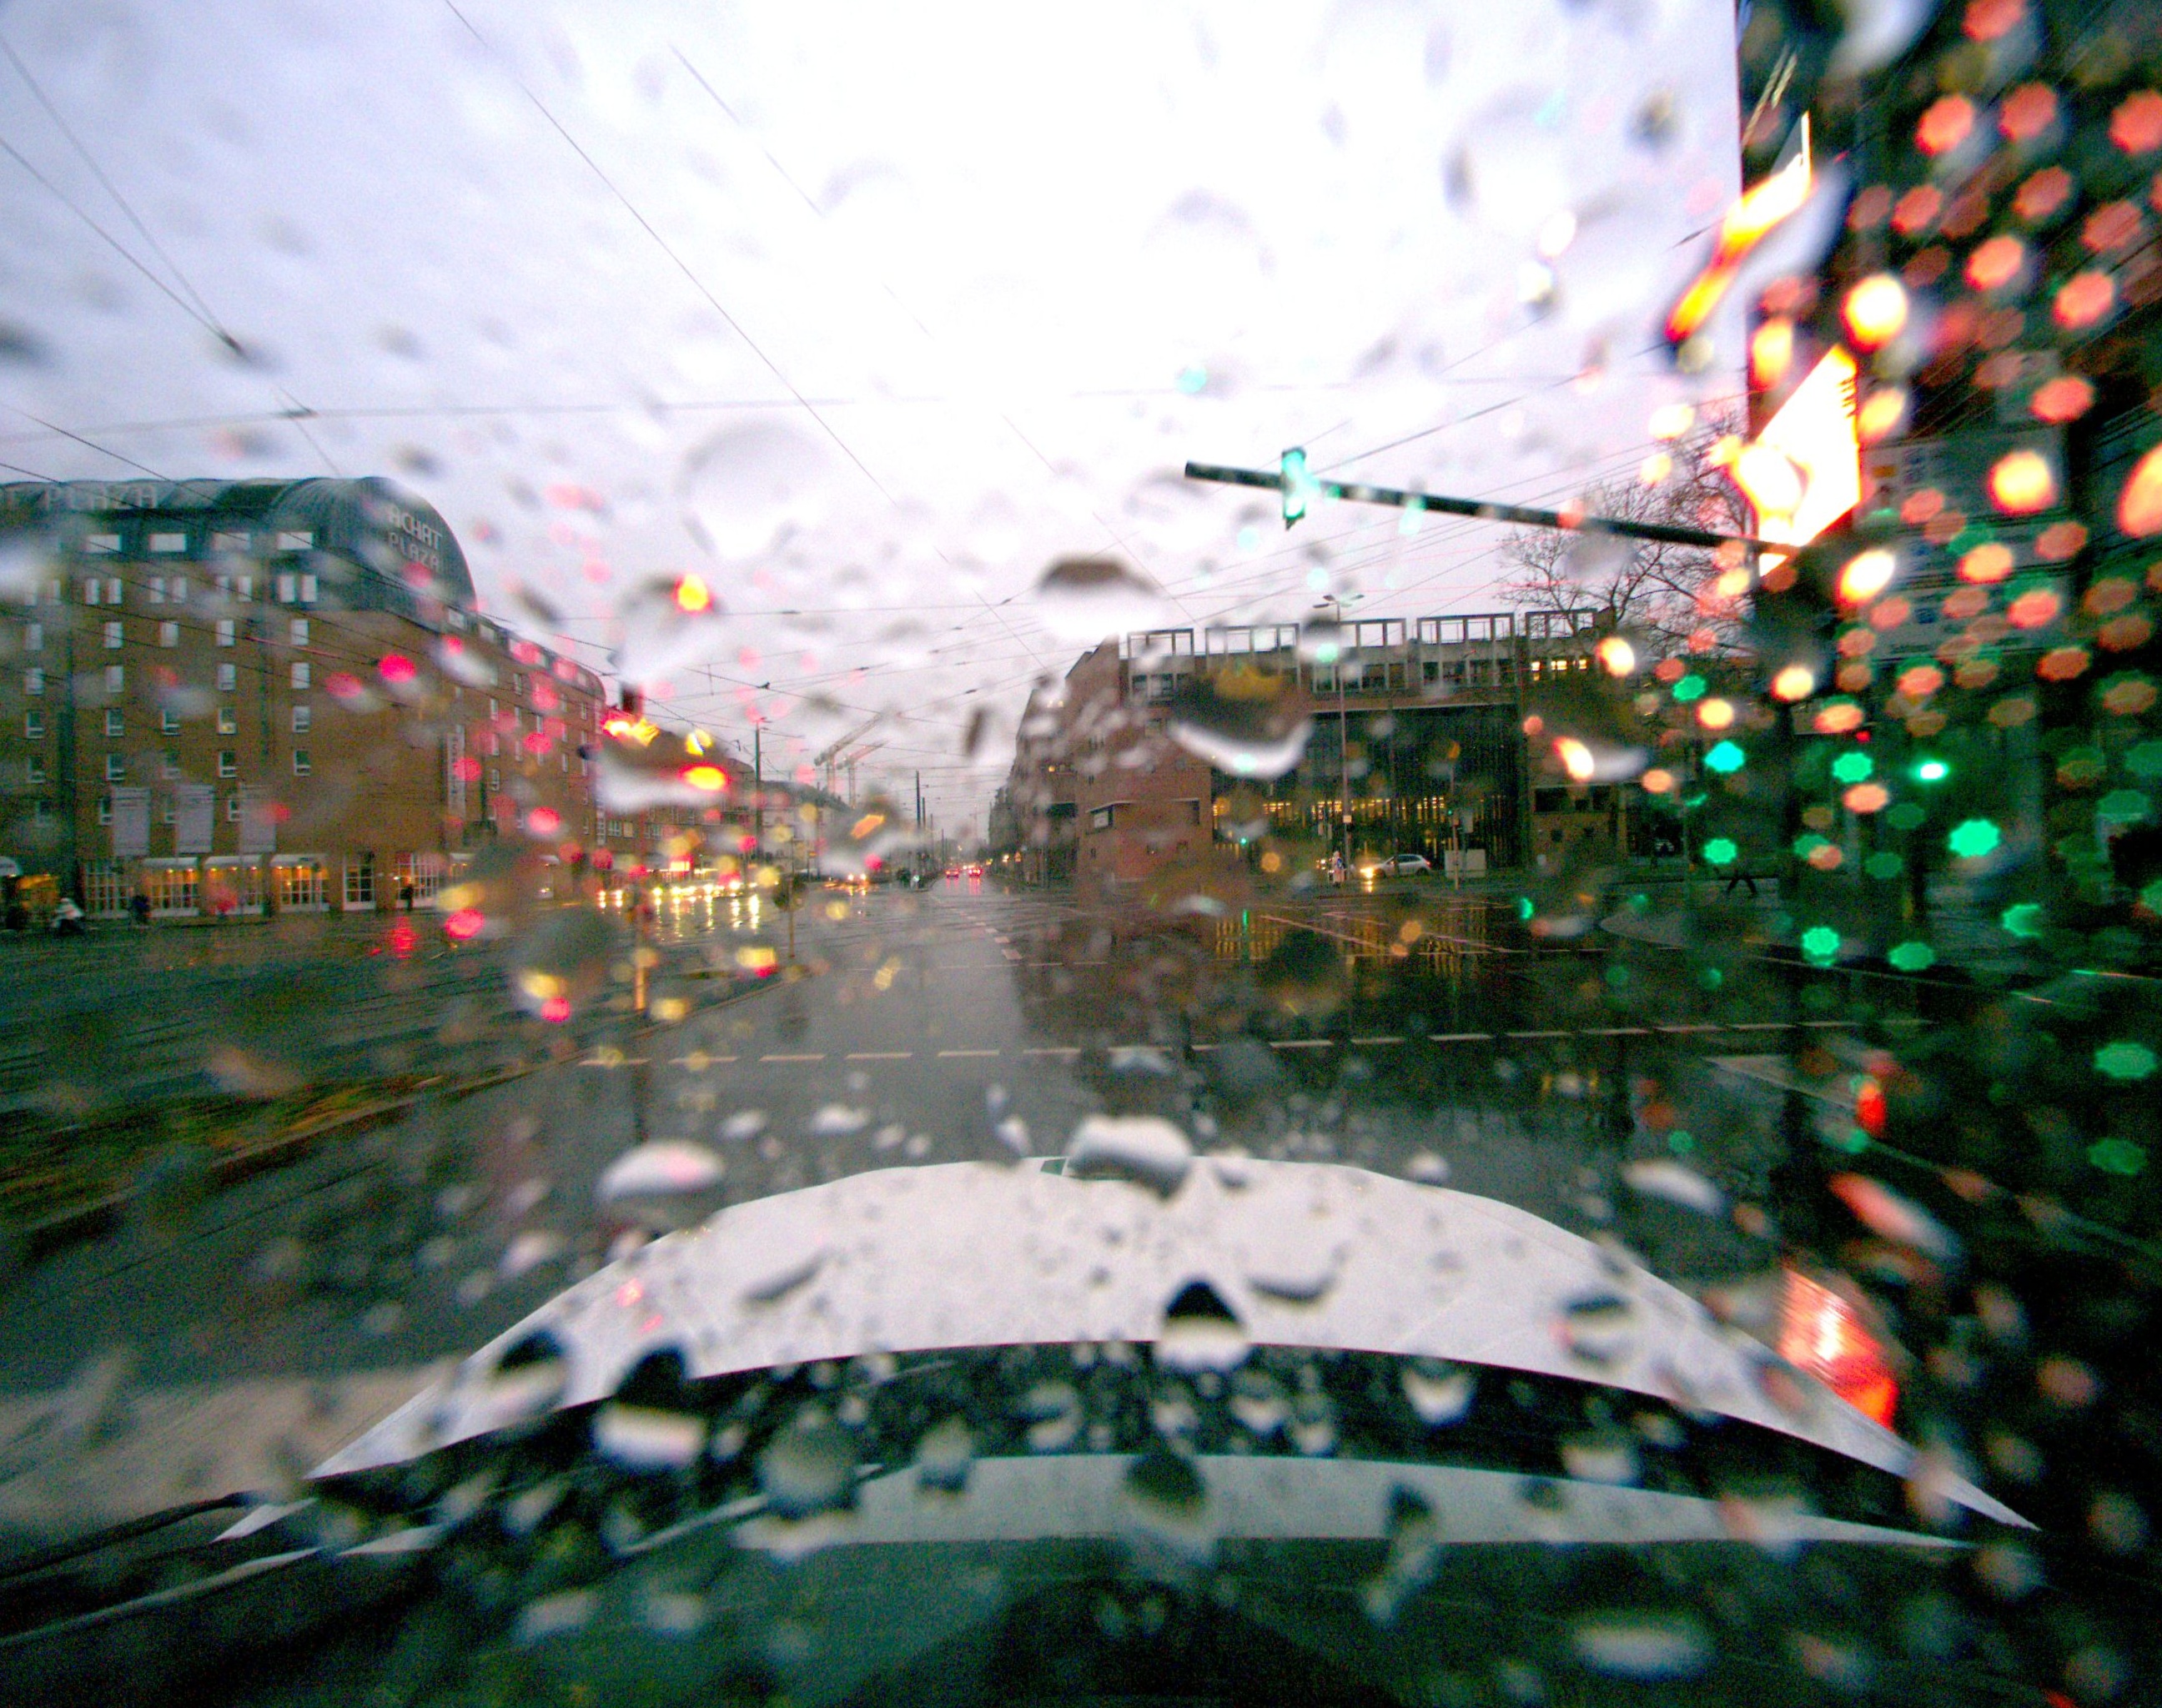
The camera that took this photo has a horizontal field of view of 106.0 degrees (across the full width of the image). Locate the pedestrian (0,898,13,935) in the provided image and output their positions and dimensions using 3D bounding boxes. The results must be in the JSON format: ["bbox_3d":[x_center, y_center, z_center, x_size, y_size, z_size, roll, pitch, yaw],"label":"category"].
[{"bbox_3d":[-45.037,2.608,33.872,0.515,1.538,0.577,-2,-1,10],"label":"pedestrian"}]

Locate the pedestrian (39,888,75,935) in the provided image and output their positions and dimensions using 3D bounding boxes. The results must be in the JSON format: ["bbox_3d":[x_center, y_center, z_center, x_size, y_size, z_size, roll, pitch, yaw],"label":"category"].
[{"bbox_3d":[-44.959,2.508,35.754,0.699,2.014,0.763,-2,-1,17],"label":"pedestrian"}]

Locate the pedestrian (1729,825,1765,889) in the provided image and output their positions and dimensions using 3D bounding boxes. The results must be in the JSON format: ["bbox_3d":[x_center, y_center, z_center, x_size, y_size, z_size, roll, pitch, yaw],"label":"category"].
[{"bbox_3d":[19.361,0.093,23.667,0.805,1.811,0.643,-1,-1,-42],"label":"pedestrian"}]

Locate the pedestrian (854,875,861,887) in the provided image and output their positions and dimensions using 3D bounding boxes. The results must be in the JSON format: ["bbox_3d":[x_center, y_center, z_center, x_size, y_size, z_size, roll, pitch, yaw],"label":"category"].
[{"bbox_3d":[-21.136,2.529,77.083,0.579,1.153,0.489,0,-1,-7],"label":"pedestrian"}]

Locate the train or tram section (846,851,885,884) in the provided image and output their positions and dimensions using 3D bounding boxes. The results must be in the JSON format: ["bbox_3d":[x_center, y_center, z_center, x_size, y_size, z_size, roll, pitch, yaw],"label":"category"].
[{"bbox_3d":[-24.893,1.605,94.760,2.948,3.589,12.220,0,-1,-8],"label":"train or tram section"}]

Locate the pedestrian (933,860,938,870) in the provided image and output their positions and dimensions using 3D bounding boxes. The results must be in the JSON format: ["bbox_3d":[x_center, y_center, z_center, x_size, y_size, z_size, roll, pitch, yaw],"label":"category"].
[{"bbox_3d":[-22.688,1.766,127.068,0.682,1.516,0.614,-1,-1,-21],"label":"pedestrian"}]

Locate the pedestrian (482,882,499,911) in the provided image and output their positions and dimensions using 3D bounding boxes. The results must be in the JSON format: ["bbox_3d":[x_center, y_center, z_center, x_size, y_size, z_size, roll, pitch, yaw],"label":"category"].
[{"bbox_3d":[-41.920,3.020,57.817,0.939,2.014,0.751,-1,-1,-32],"label":"pedestrian"}]

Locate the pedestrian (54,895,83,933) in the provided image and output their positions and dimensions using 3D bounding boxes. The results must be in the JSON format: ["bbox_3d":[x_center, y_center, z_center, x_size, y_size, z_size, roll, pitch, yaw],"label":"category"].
[{"bbox_3d":[-42.299,2.507,34.026,0.515,1.538,0.577,-2,-1,10],"label":"pedestrian"}]

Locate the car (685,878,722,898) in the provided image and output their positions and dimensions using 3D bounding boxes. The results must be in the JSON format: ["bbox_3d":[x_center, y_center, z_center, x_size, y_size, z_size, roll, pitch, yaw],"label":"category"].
[{"bbox_3d":[-32.431,2.904,70.123,1.667,1.495,4.190,-2,-1,-7],"label":"car"}]

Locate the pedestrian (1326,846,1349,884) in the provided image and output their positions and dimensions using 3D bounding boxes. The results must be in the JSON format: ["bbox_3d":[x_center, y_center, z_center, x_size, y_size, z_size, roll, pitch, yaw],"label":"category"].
[{"bbox_3d":[12.214,0.533,38.783,0.734,1.787,0.732,-2,-1,-12],"label":"pedestrian"}]

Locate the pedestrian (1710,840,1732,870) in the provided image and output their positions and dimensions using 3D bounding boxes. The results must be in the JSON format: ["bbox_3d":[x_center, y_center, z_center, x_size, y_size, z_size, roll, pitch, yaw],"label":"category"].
[{"bbox_3d":[29.542,0.034,37.589,0.603,1.364,0.478,-2,-1,0],"label":"pedestrian"}]

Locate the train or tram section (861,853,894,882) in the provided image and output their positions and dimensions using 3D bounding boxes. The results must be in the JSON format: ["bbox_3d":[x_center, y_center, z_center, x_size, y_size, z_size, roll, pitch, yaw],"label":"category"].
[{"bbox_3d":[-26.457,1.764,106.404,2.923,3.578,11.004,0,-1,-8],"label":"train or tram section"}]

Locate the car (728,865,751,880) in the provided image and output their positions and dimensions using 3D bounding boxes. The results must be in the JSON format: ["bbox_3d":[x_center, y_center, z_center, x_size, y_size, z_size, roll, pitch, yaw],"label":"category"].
[{"bbox_3d":[-47.727,2.544,113.843,1.993,2.014,3.988,0,-1,-9],"label":"car"}]

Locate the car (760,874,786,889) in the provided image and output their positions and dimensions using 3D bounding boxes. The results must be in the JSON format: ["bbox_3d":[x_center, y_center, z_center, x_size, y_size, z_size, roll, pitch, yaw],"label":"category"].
[{"bbox_3d":[-30.156,2.706,79.904,1.681,1.354,3.534,-1,-1,-9],"label":"car"}]

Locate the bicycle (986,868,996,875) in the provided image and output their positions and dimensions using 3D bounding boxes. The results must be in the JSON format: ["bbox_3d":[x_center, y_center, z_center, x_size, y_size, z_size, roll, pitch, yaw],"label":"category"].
[{"bbox_3d":[-16.806,3.268,151.804,1.730,1.055,0.370,-3,-1,-10],"label":"bicycle"}]

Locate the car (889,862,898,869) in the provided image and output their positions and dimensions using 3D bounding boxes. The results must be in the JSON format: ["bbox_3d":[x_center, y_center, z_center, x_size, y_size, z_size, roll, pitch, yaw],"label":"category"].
[{"bbox_3d":[-40.464,2.514,176.106,1.681,1.354,3.534,-1,-1,-9],"label":"car"}]

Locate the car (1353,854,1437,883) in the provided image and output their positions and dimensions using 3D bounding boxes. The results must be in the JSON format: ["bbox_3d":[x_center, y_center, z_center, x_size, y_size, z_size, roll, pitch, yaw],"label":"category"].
[{"bbox_3d":[17.572,0.803,45.713,3.976,1.341,1.810,-3,-1,-6],"label":"car"}]

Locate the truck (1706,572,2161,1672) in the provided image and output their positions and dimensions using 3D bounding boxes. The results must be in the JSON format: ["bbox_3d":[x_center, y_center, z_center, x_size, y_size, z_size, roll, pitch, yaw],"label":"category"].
[{"bbox_3d":[2.804,0.456,0.153,1.898,1.917,4.618,0,0,1],"label":"truck"}]

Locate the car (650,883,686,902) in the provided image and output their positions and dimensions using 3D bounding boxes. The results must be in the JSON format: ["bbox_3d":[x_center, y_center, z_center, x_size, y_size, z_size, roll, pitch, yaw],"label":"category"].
[{"bbox_3d":[-35.485,3.265,69.998,1.580,1.495,3.586,-2,-1,-7],"label":"car"}]

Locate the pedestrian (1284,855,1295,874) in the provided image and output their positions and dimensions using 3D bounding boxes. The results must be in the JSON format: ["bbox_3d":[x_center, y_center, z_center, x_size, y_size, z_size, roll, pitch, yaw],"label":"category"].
[{"bbox_3d":[15.613,0.751,61.054,0.732,1.389,0.740,-2,-1,13],"label":"pedestrian"}]

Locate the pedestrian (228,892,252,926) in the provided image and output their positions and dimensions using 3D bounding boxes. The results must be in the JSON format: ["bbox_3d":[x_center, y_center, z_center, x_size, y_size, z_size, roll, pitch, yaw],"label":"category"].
[{"bbox_3d":[-39.758,2.601,38.505,0.515,1.538,0.577,-2,-1,10],"label":"pedestrian"}]

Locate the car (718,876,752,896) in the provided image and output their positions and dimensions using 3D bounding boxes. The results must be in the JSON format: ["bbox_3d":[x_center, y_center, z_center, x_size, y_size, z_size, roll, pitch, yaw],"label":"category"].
[{"bbox_3d":[-33.138,3.029,78.157,1.828,1.709,4.691,-1,-1,-9],"label":"car"}]

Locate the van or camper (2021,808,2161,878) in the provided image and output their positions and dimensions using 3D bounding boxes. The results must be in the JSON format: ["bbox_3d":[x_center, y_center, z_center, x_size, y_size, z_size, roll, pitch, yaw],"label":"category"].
[{"bbox_3d":[30.885,-0.322,24.060,4.731,1.929,1.835,-1,-1,-9],"label":"van or camper"}]

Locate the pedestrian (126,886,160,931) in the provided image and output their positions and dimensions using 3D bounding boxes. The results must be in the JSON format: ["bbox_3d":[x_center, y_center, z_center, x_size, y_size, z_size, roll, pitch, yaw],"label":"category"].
[{"bbox_3d":[-43.575,2.518,37.839,0.702,2.014,0.759,-2,-1,2],"label":"pedestrian"}]

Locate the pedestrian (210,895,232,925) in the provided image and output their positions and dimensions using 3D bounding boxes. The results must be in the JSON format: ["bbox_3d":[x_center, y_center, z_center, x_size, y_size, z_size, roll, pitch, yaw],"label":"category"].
[{"bbox_3d":[-45.958,2.973,43.533,0.515,1.538,0.577,-2,-1,10],"label":"pedestrian"}]

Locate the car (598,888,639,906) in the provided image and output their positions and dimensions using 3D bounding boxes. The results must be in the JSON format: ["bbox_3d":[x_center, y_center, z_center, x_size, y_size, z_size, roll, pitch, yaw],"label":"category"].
[{"bbox_3d":[-39.923,3.725,70.437,1.611,1.321,4.216,-2,-1,-8],"label":"car"}]

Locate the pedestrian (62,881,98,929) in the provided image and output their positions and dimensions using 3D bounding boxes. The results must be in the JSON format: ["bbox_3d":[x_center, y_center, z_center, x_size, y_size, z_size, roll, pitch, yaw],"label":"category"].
[{"bbox_3d":[-43.210,2.201,35.150,0.699,2.014,0.763,-2,-1,17],"label":"pedestrian"}]

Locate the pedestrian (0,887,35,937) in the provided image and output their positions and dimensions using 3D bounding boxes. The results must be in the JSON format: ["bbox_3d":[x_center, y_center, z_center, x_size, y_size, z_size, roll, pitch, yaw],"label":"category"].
[{"bbox_3d":[-43.777,2.366,33.428,0.755,2.014,0.706,-2,-1,-5],"label":"pedestrian"}]

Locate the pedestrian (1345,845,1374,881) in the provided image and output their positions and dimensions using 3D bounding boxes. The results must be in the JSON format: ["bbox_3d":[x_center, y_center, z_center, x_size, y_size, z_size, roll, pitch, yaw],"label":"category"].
[{"bbox_3d":[14.557,0.467,42.520,1.148,1.787,0.775,-2,-1,-8],"label":"pedestrian"}]

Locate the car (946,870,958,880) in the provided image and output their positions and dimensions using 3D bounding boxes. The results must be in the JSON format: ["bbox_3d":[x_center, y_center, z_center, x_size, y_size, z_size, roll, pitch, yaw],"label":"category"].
[{"bbox_3d":[-20.362,3.356,128.540,1.782,1.467,3.141,-2,-1,-7],"label":"car"}]

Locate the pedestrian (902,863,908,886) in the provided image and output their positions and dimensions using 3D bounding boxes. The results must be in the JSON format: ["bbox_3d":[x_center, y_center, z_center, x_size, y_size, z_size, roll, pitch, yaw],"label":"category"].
[{"bbox_3d":[-14.206,1.631,65.731,0.412,1.845,0.666,-1,-1,-13],"label":"pedestrian"}]

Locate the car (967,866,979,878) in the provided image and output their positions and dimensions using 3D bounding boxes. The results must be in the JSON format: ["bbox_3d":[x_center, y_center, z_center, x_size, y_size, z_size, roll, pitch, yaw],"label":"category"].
[{"bbox_3d":[-18.643,3.120,140.702,1.991,2.014,3.991,-2,-1,-7],"label":"car"}]
